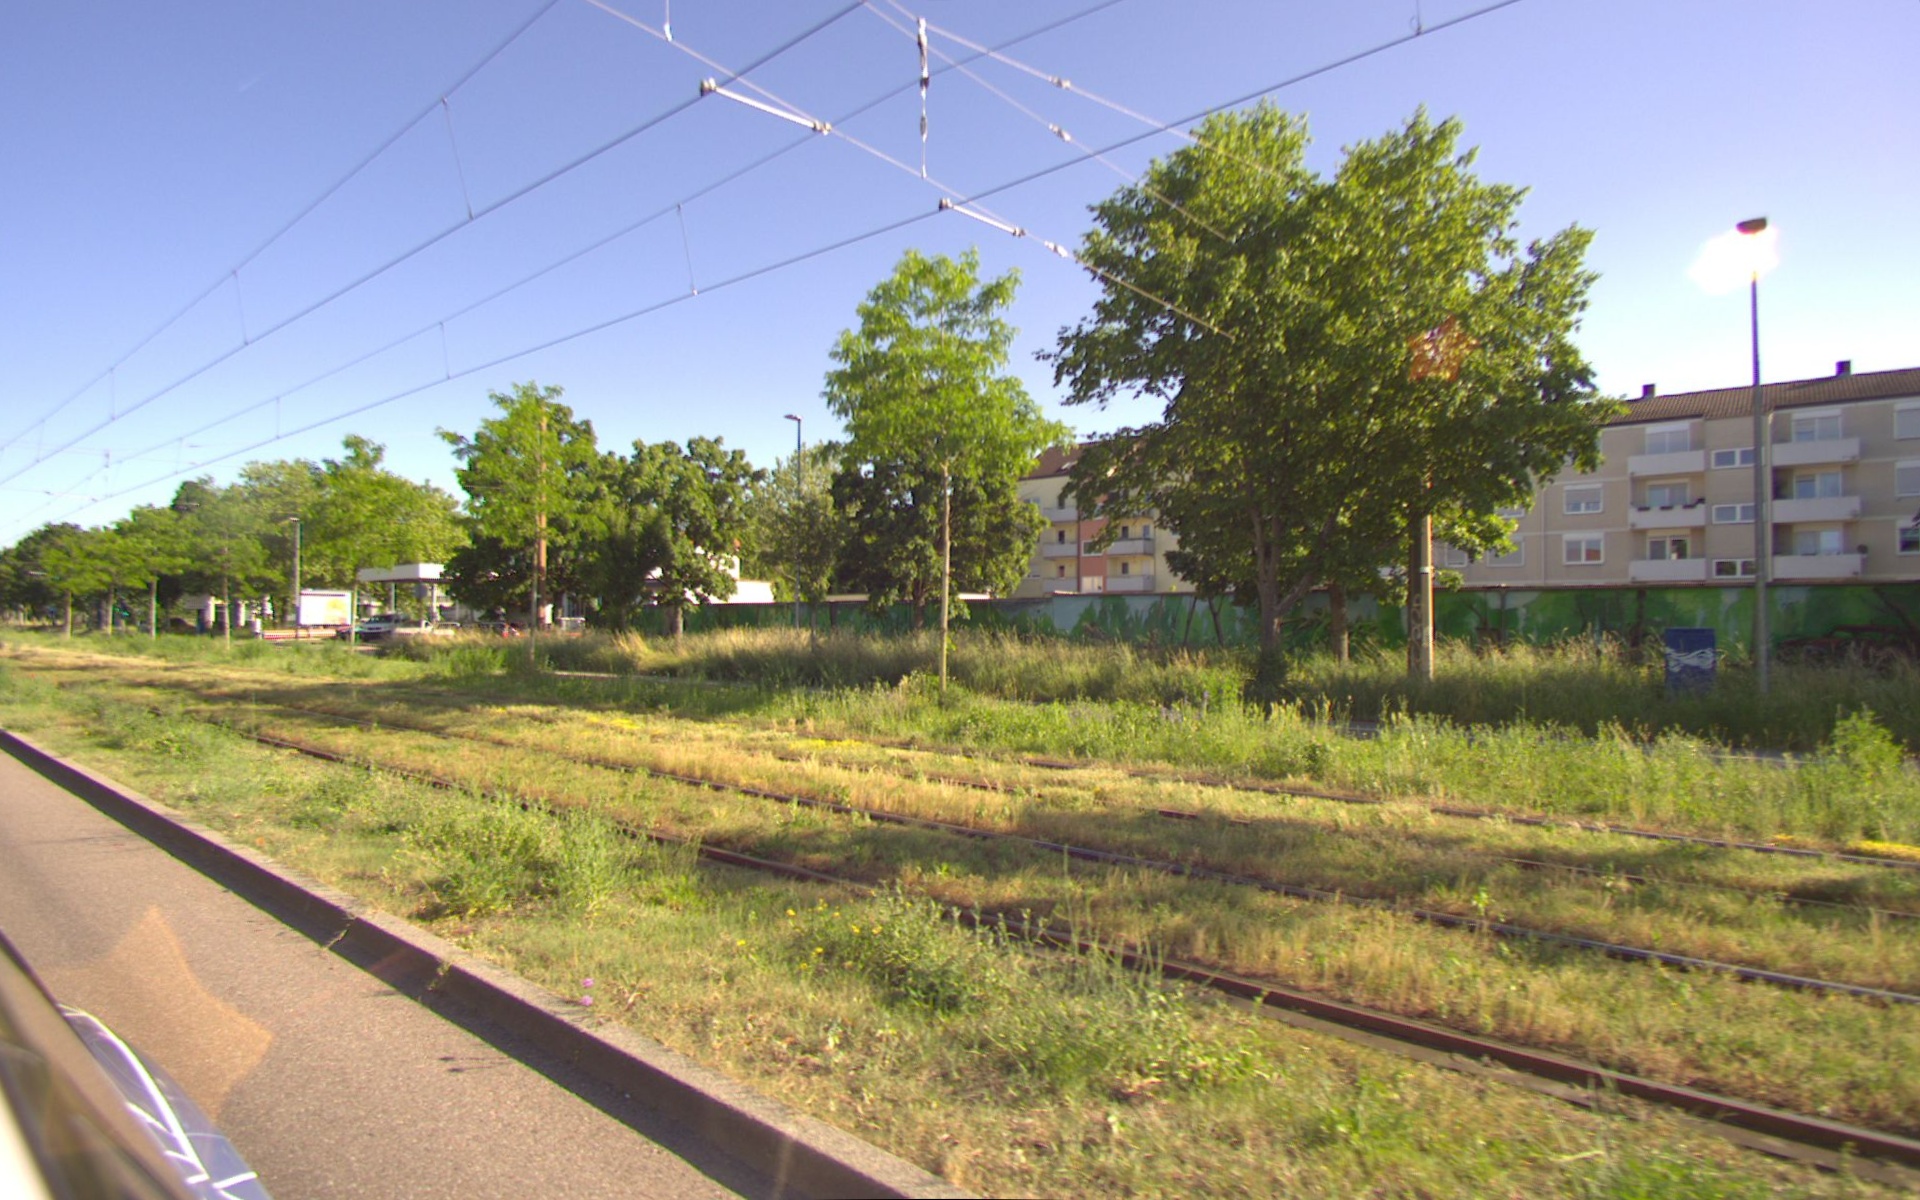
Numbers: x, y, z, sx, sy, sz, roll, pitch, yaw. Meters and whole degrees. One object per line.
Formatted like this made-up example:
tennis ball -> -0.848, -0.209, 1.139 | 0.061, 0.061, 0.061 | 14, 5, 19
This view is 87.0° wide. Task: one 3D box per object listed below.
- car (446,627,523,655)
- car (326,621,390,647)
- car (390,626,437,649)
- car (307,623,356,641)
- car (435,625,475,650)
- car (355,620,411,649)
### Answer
car -> -27.454, 2.366, 58.549 | 1.638, 1.523, 3.666 | -1, -3, 36
car -> -47.820, 2.698, 80.458 | 2.000, 1.871, 3.944 | -2, -1, 43
car -> -36.267, 2.462, 67.261 | 1.688, 1.435, 4.469 | 0, 0, -14
car -> -66.137, 3.346, 106.546 | 1.997, 1.840, 4.003 | -1, 0, 37
car -> -33.464, 2.452, 67.169 | 1.992, 1.519, 4.905 | 1, -1, -22
car -> -39.693, 2.389, 69.739 | 1.868, 1.925, 4.820 | 0, -2, -10
